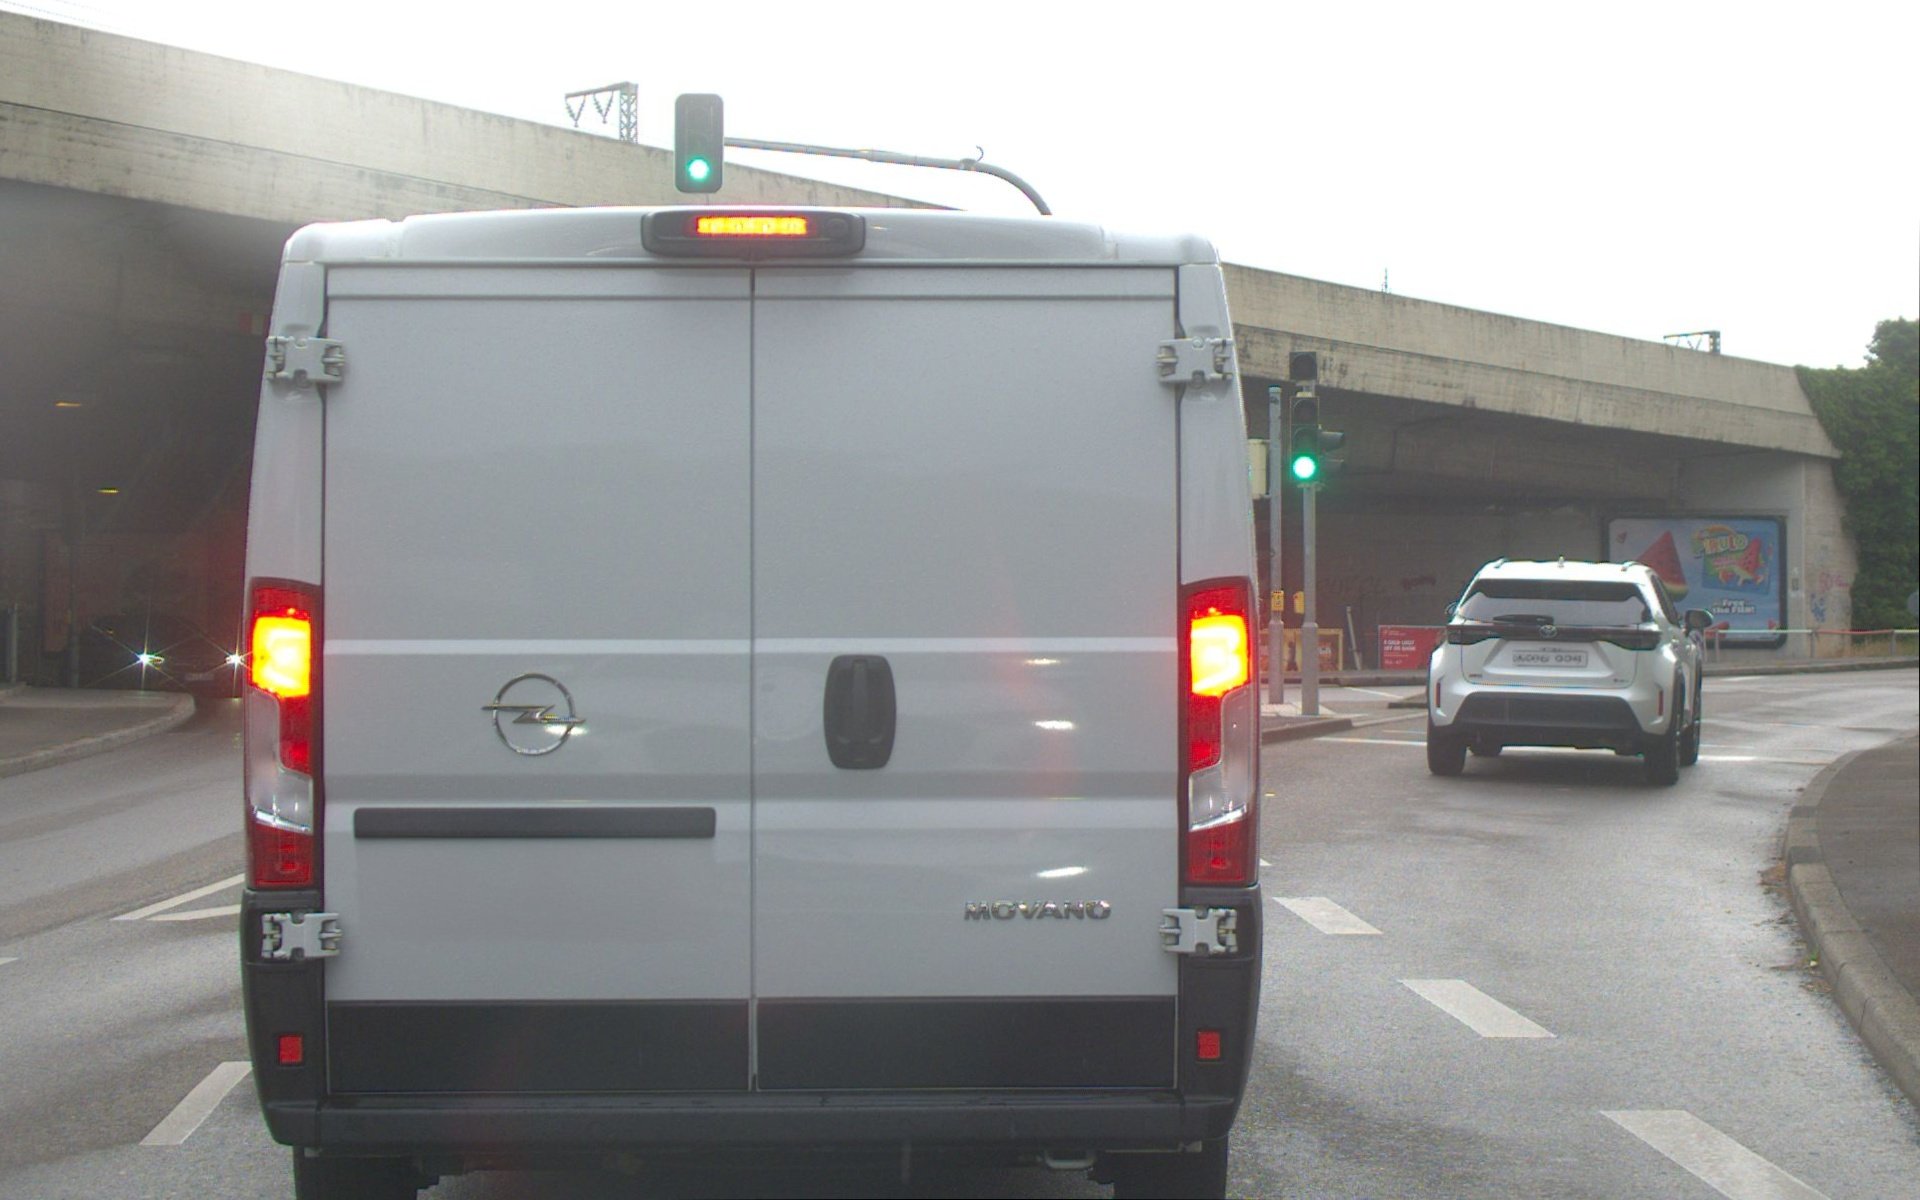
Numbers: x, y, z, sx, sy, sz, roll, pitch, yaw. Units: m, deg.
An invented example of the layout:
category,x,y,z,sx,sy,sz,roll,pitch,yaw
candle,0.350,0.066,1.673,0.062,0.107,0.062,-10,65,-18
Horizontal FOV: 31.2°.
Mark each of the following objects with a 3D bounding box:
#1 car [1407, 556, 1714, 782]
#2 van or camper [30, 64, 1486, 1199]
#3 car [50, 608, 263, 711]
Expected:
category,x,y,z,sx,sy,sz,roll,pitch,yaw
car,4.523,0.454,25.459,1.877,1.525,3.997,0,0,15
van or camper,-0.478,0.205,8.852,2.698,2.408,4.904,0,0,-3
car,-13.137,0.937,56.032,1.993,1.525,4.500,0,1,-33
